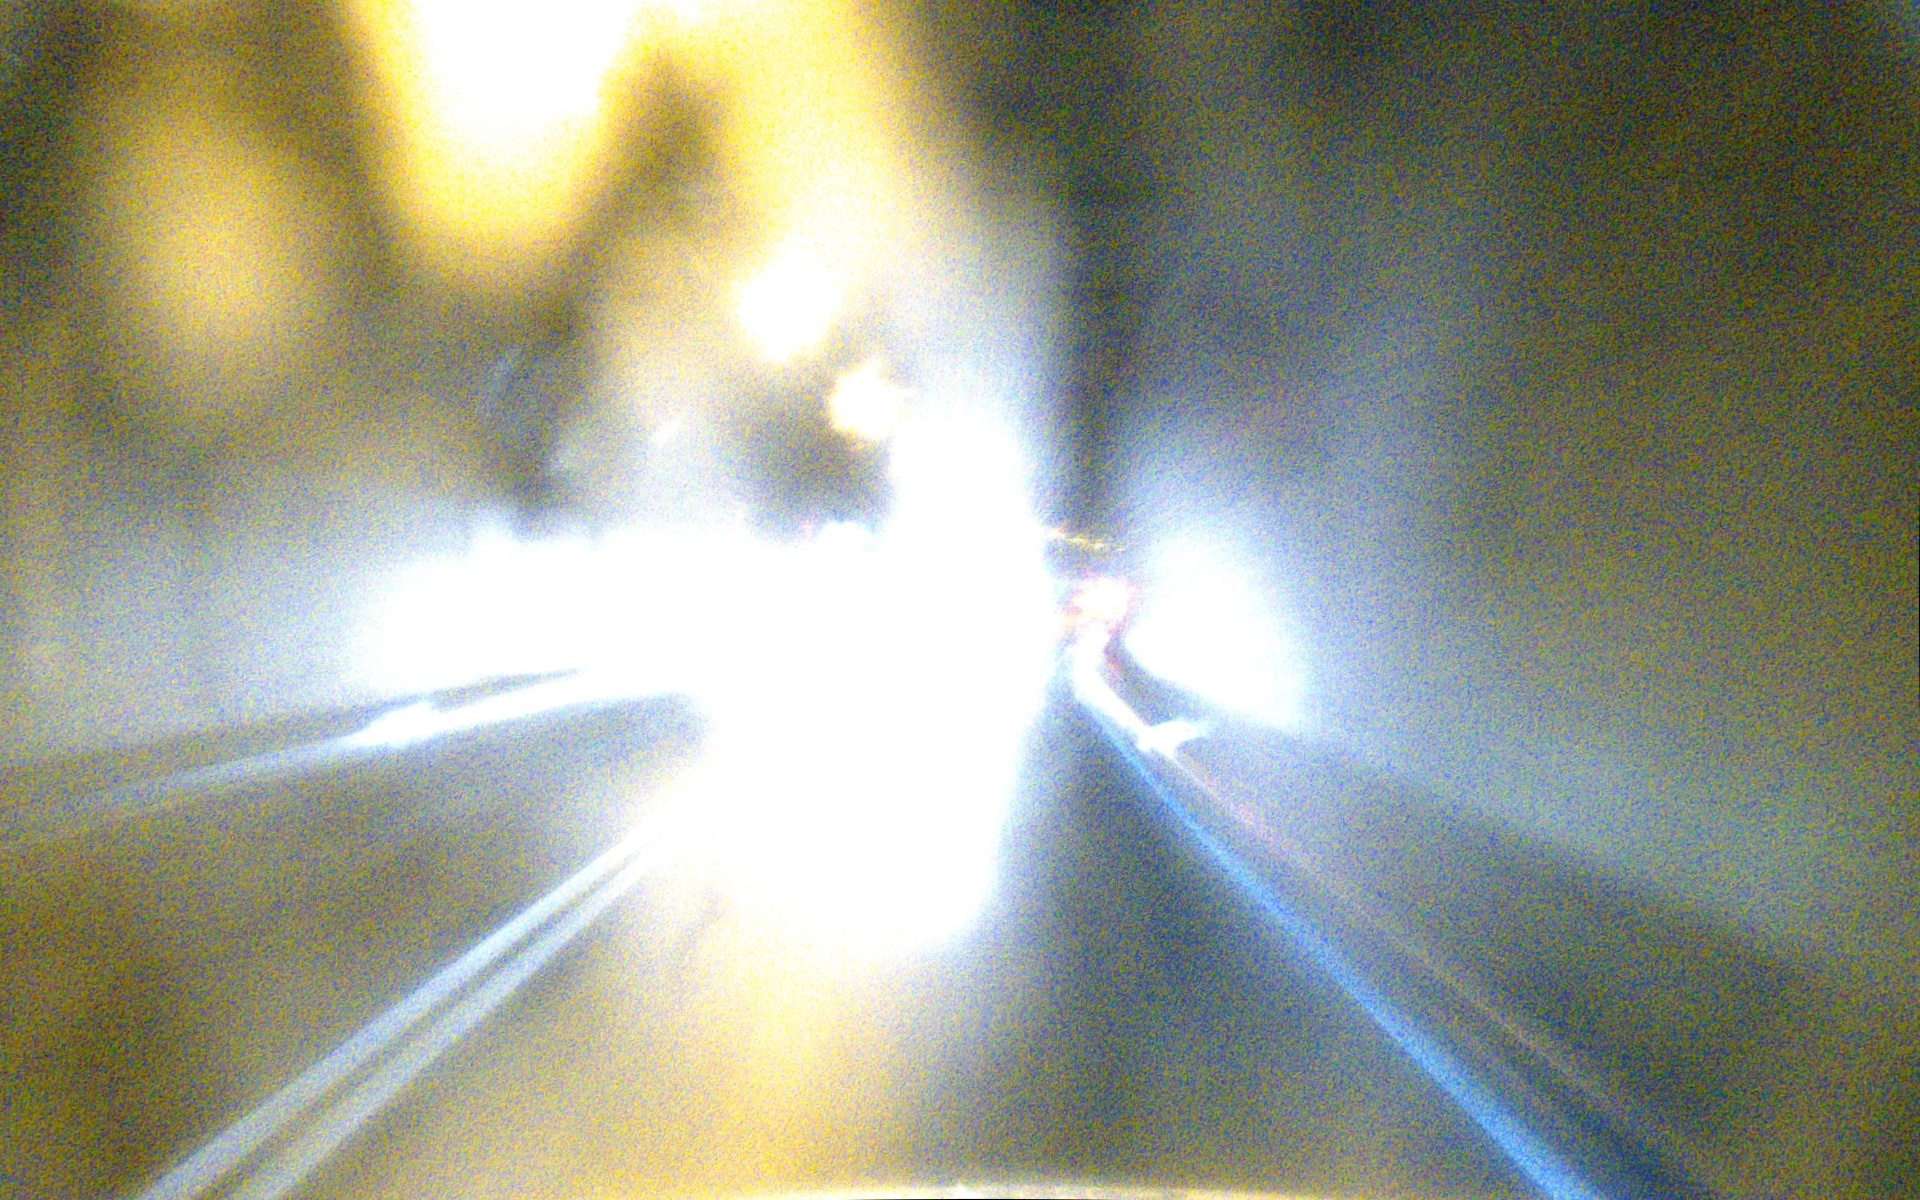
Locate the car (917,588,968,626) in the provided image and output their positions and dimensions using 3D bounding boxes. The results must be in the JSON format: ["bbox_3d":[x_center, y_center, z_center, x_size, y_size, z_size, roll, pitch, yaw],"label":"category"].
[{"bbox_3d":[-0.646,0.231,64.355,1.677,1.402,4.587,0,1,3],"label":"car"}]

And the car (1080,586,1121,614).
[{"bbox_3d":[8.825,-0.002,103.664,1.951,1.679,4.003,-1,0,14],"label":"car"}]
